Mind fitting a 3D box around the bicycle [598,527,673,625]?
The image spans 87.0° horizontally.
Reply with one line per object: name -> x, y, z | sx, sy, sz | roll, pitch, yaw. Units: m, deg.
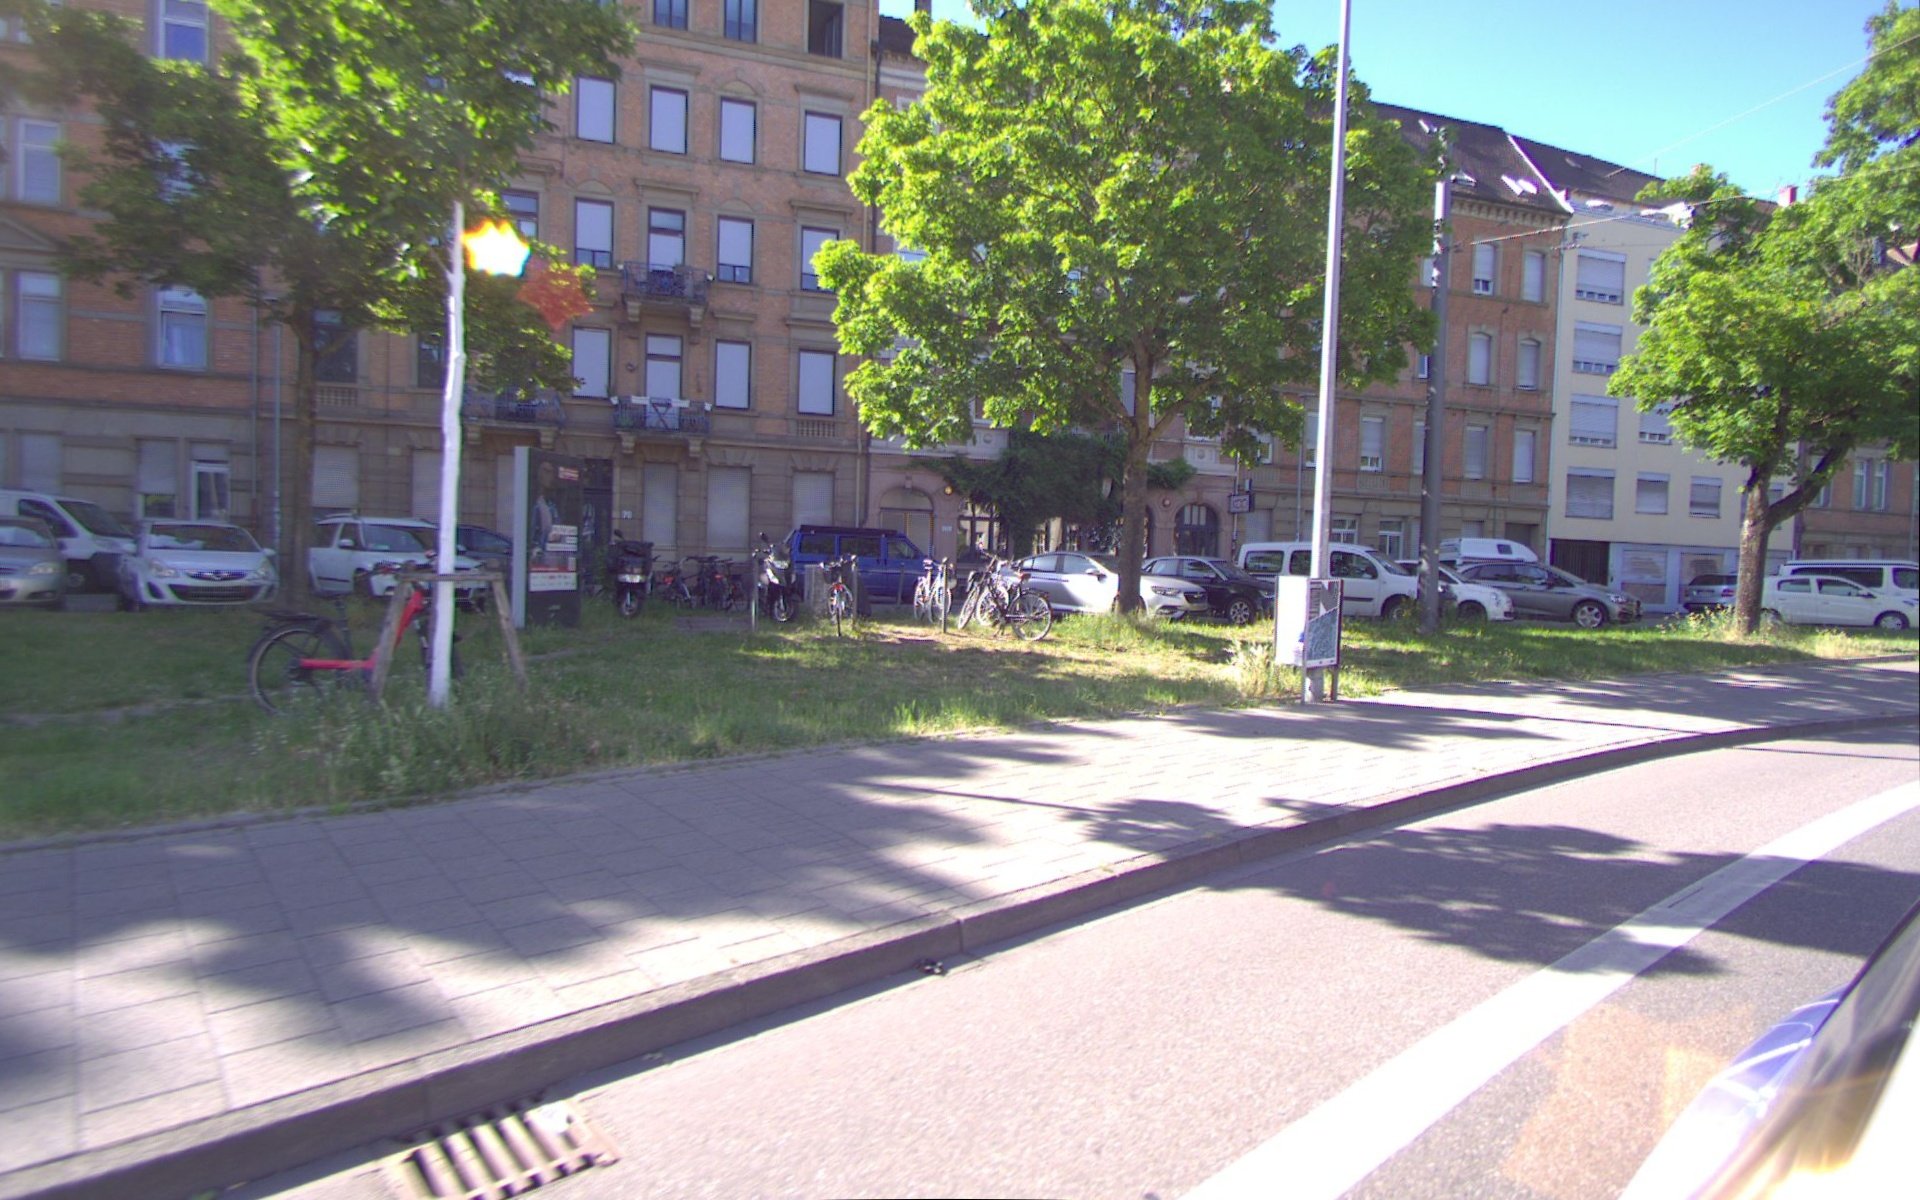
bicycle -> -5.069, -0.386, 15.719 | 0.771, 1.415, 2.104 | 0, 2, -27

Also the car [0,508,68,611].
car -> -14.059, -0.621, 14.573 | 1.808, 1.353, 4.051 | 0, 3, -41

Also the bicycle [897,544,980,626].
bicycle -> -0.380, -0.278, 16.494 | 0.824, 1.206, 1.969 | 1, 4, -17

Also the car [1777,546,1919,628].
car -> 25.500, -0.338, 27.253 | 2.067, 2.036, 5.175 | -2, 5, -45

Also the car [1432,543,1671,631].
car -> 13.946, -0.395, 24.044 | 1.968, 1.748, 4.502 | -2, 6, -45

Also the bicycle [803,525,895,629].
bicycle -> -1.644, -0.346, 14.603 | 0.771, 1.381, 2.105 | 1, 2, -21

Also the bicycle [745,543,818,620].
bicycle -> -2.951, -0.324, 16.591 | 0.805, 1.172, 2.175 | 1, 2, -20

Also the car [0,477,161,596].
car -> -20.663, -1.424, 21.663 | 5.078, 2.385, 2.363 | 2, 3, -15

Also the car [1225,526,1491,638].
car -> 8.471, -0.491, 21.800 | 4.861, 2.036, 2.071 | 5, 5, 40

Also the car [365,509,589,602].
car -> -11.605, -1.088, 24.667 | 4.624, 2.001, 2.006 | 2, 3, -16

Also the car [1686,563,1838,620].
car -> 29.287, -0.310, 37.006 | 4.528, 1.821, 2.006 | 2, 3, -17

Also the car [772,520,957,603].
car -> -2.621, -1.048, 27.433 | 4.624, 2.001, 2.006 | 2, 3, -16

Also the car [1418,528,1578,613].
car -> 18.067, -0.999, 34.066 | 4.418, 2.616, 2.006 | 2, 3, -15

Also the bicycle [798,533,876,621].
bicycle -> -2.087, -0.402, 16.935 | 0.771, 1.381, 2.105 | 1, 2, -21

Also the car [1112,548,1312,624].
car -> 5.256, -0.336, 21.299 | 3.600, 1.397, 1.897 | 3, 2, 41

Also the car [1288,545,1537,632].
car -> 10.479, -0.362, 23.714 | 2.067, 1.667, 4.869 | -2, 6, -45

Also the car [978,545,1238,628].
car -> 2.824, -0.332, 19.988 | 4.733, 1.397, 2.016 | 3, 3, 41

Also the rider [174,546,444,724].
rider -> -4.735, 0.237, 7.408 | 1.645, 1.190, 0.503 | 3, 2, 1

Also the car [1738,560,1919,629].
car -> 22.749, -0.183, 26.184 | 4.015, 1.496, 1.787 | 5, 5, 41

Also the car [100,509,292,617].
car -> -11.801, -0.588, 15.546 | 3.831, 1.459, 1.733 | 3, 3, 43

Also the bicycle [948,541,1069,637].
bicycle -> 0.718, -0.185, 14.913 | 1.580, 1.305, 0.764 | 3, 3, 24

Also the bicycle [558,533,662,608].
bicycle -> -6.705, -0.583, 19.346 | 2.086, 1.381, 0.778 | 2, 2, 34

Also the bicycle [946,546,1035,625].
bicycle -> 0.470, -0.272, 16.810 | 0.881, 1.194, 1.956 | 1, 4, -17

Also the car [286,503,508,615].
car -> -9.313, -0.683, 16.580 | 4.456, 1.585, 1.908 | 3, 3, 43
